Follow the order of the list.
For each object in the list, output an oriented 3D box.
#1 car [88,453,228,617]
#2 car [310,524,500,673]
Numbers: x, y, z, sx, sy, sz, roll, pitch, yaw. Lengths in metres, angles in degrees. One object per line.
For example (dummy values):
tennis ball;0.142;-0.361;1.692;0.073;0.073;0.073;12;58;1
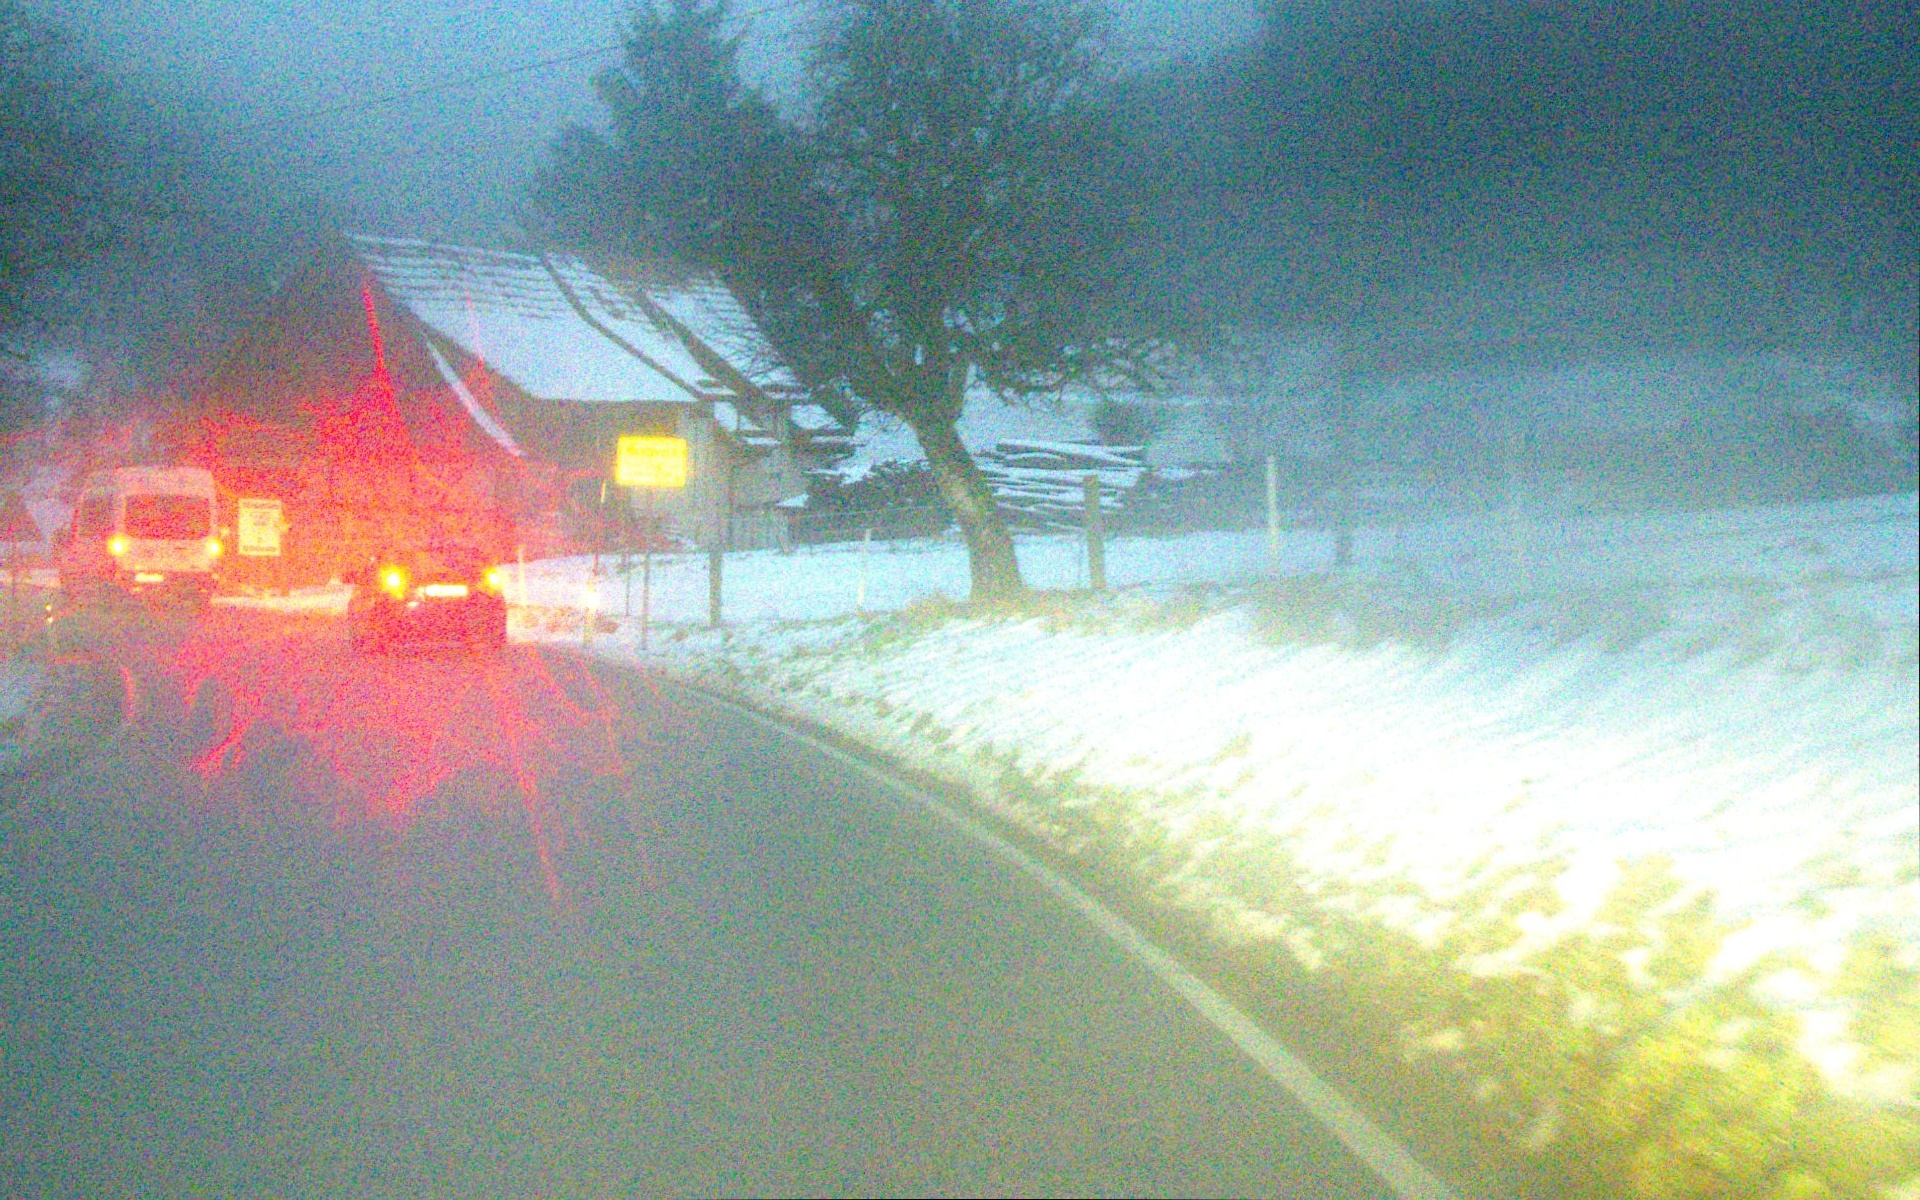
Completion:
car;-15.294;-1.207;65.817;2.434;3.008;5.326;-1;0;-11
car;-7.509;-0.040;46.137;2.273;1.834;5.008;-1;1;-12
